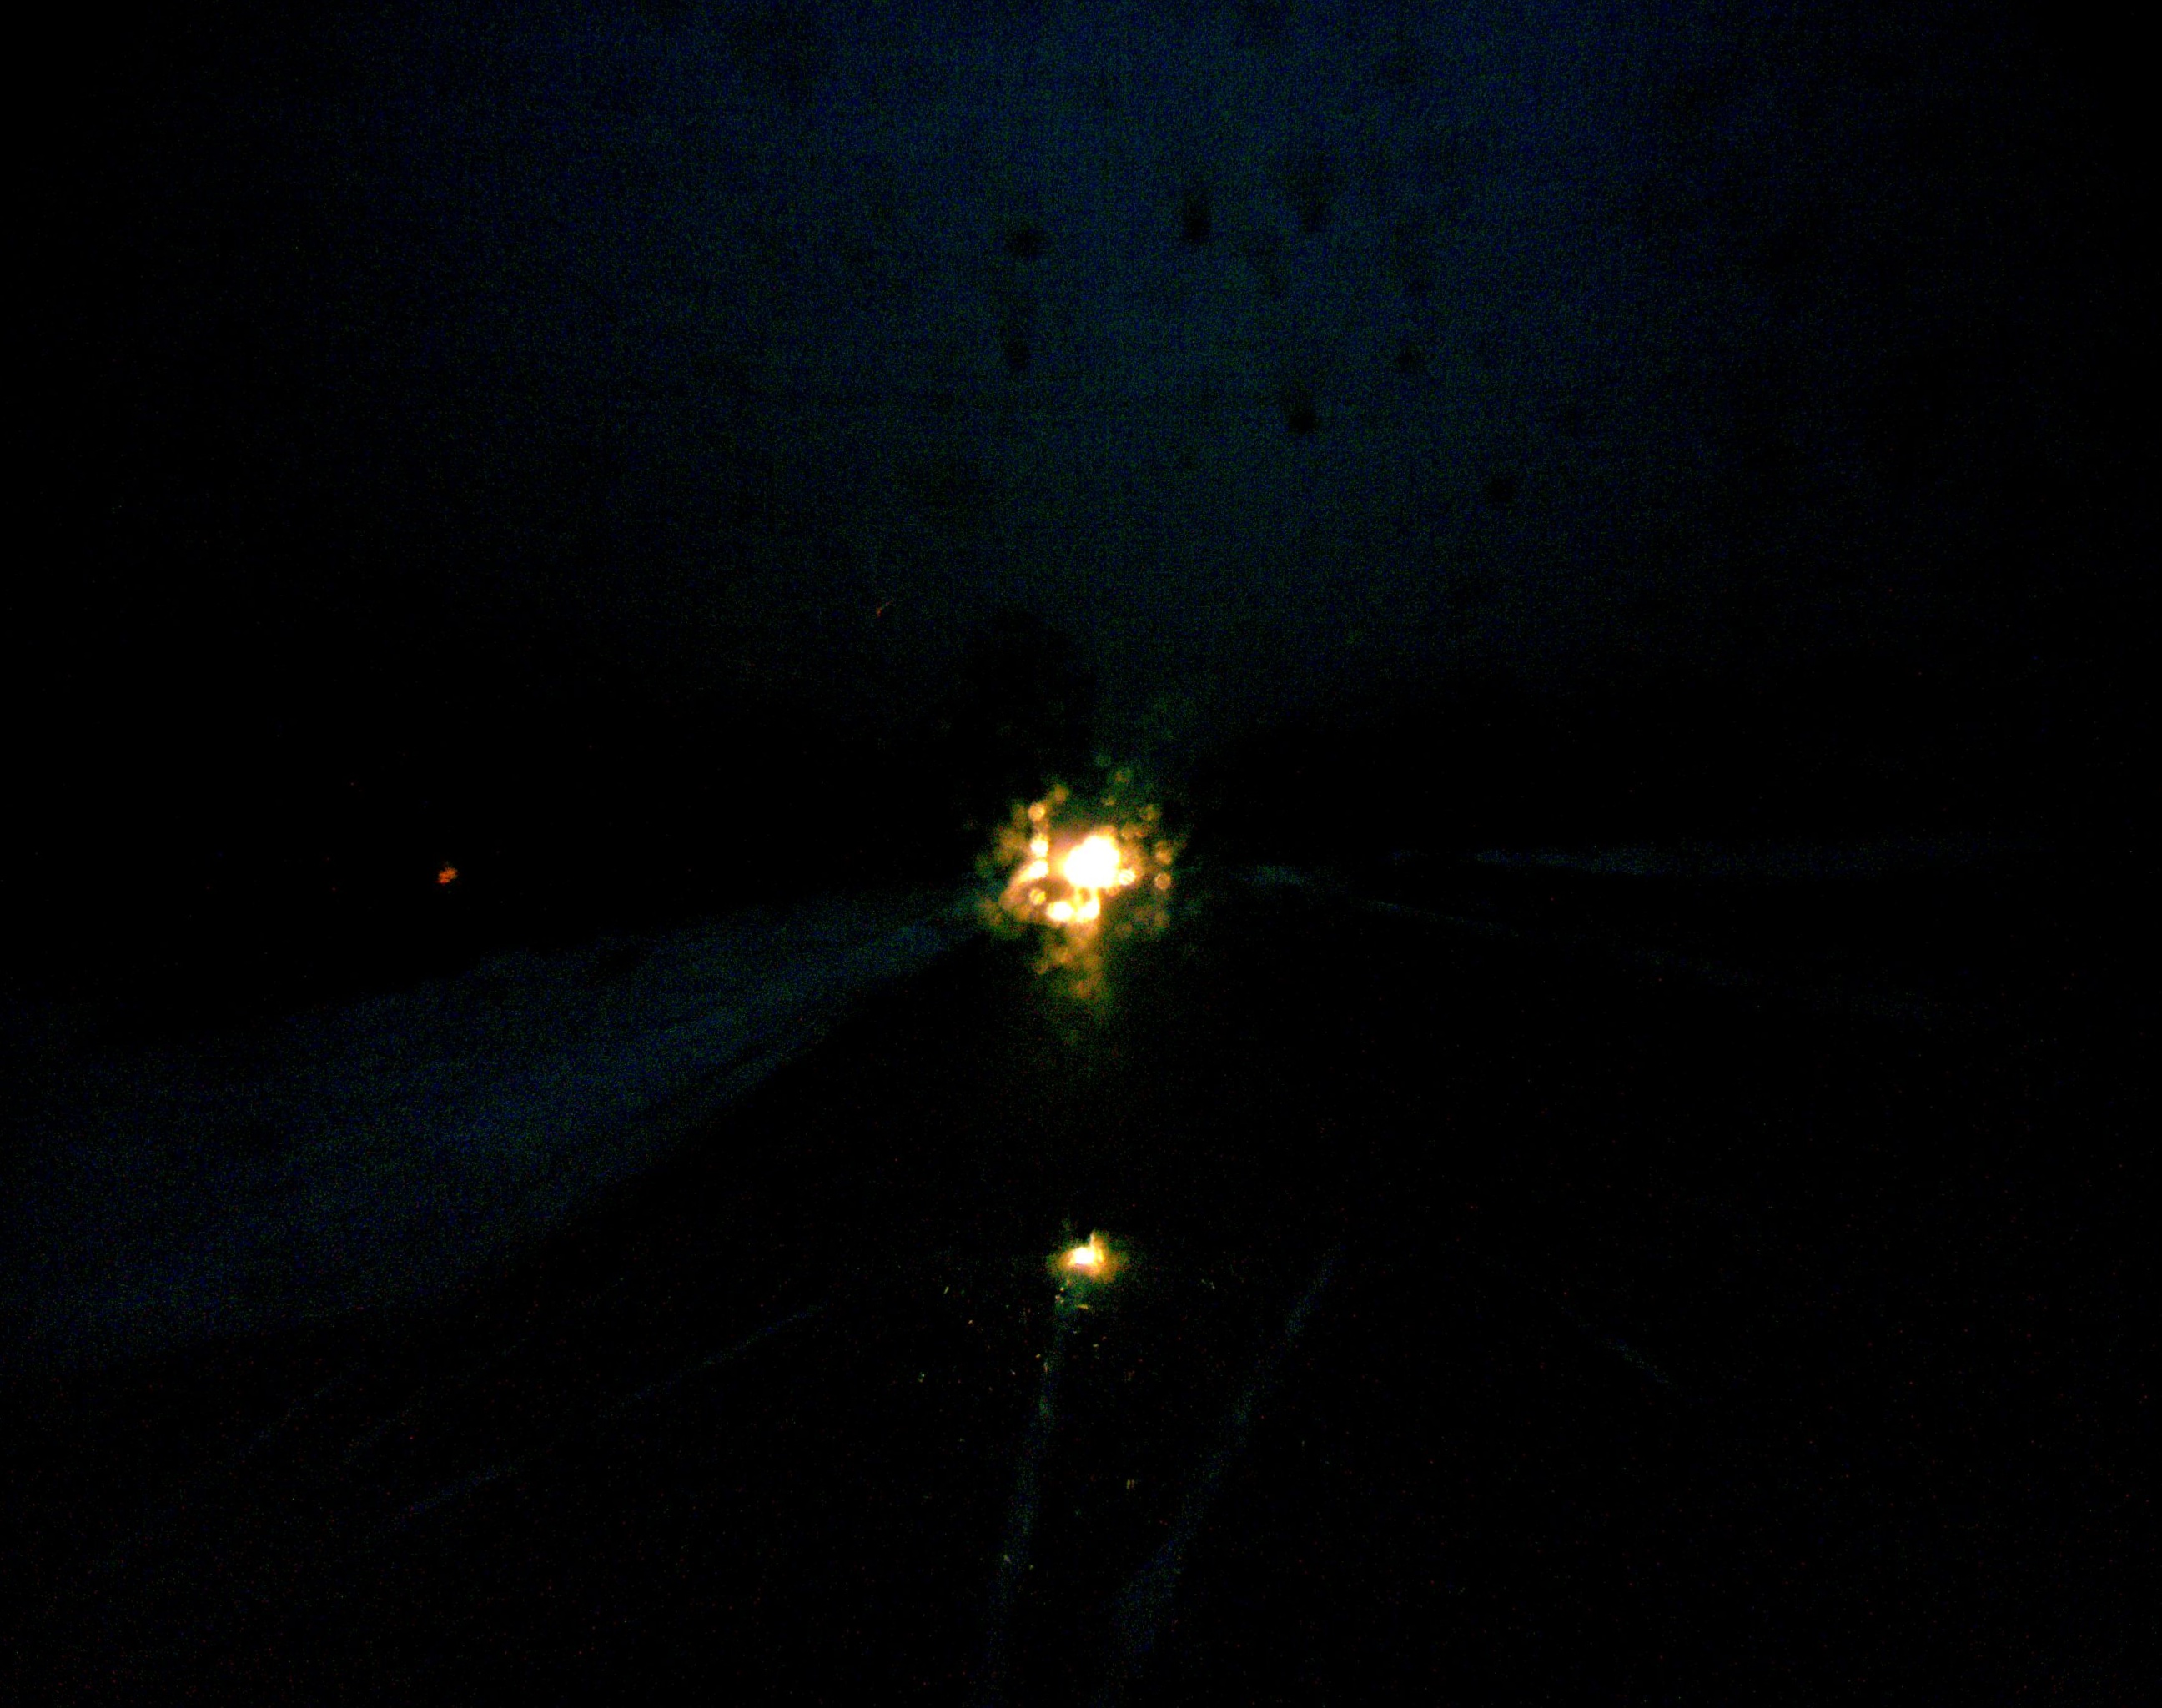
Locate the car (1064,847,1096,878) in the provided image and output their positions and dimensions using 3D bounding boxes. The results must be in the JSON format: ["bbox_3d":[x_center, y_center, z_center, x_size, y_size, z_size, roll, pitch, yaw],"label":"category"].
[{"bbox_3d":[-0.042,0.579,56.846,1.998,2.002,4.000,-5,1,4],"label":"car"}]
